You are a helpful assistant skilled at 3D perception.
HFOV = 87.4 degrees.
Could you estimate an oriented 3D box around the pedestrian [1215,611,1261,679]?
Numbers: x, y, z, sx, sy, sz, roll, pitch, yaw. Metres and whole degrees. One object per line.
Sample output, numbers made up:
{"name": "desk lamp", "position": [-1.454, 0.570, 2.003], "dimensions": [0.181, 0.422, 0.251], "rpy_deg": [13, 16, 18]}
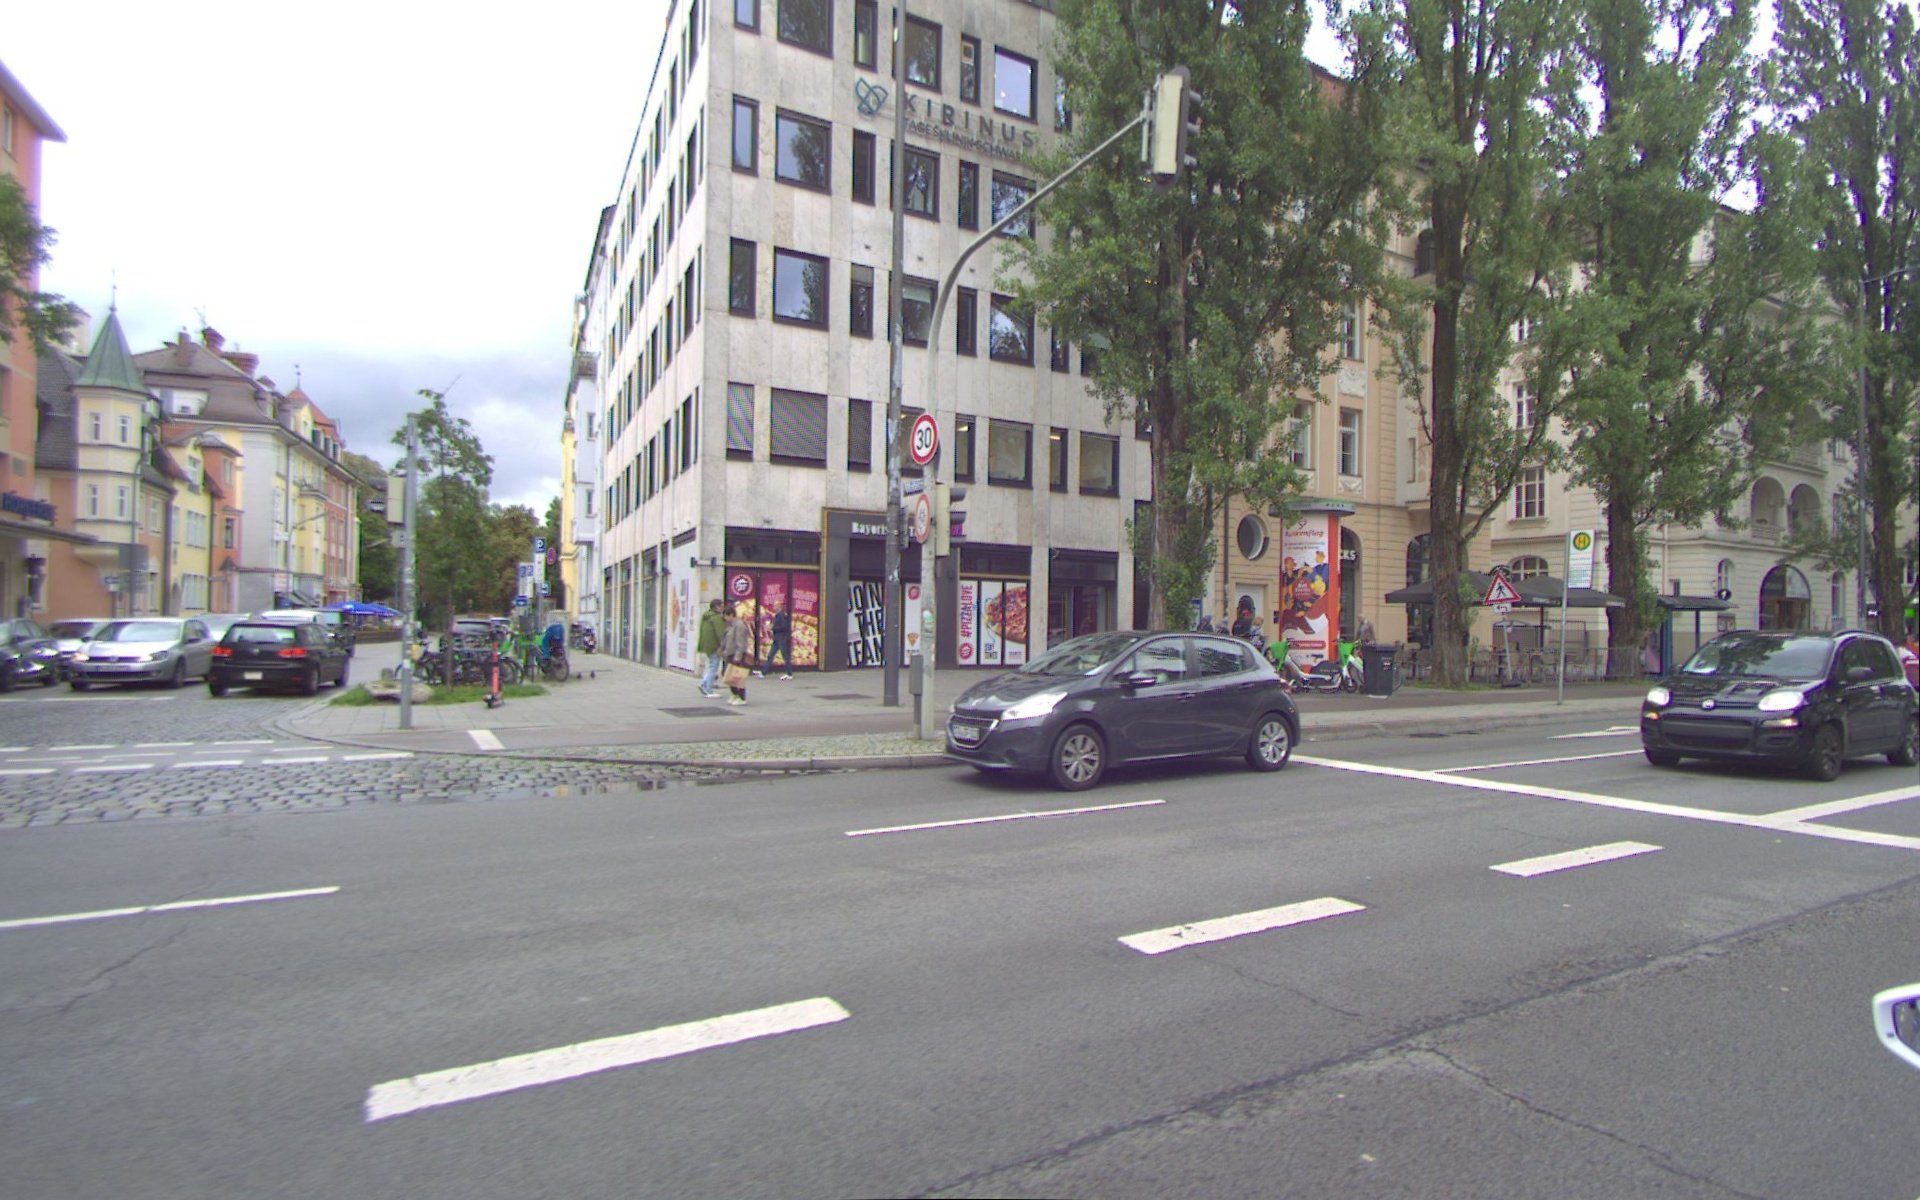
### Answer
{"name": "pedestrian", "position": [7.682, 1.240, 27.751], "dimensions": [0.901, 1.811, 0.796], "rpy_deg": [1, 1, -30]}

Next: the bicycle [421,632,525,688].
{"name": "bicycle", "position": [-10.735, 1.309, 22.170], "dimensions": [2.014, 1.199, 0.412], "rpy_deg": [2, -1, -37]}

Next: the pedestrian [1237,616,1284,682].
{"name": "pedestrian", "position": [8.073, 1.308, 26.981], "dimensions": [0.966, 1.704, 0.728], "rpy_deg": [1, 0, -30]}

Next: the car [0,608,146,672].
{"name": "car", "position": [-22.156, 0.954, 24.912], "dimensions": [1.863, 1.439, 3.929], "rpy_deg": [1, -1, -21]}

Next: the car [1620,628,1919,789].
{"name": "car", "position": [9.070, 1.087, 11.099], "dimensions": [3.652, 1.515, 1.554], "rpy_deg": [2, -2, -31]}

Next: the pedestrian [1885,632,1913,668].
{"name": "pedestrian", "position": [44.356, 2.355, 47.451], "dimensions": [0.941, 1.695, 0.731], "rpy_deg": [1, -1, -30]}

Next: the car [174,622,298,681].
{"name": "car", "position": [-19.492, 1.344, 27.240], "dimensions": [1.716, 1.439, 3.981], "rpy_deg": [1, -1, -21]}

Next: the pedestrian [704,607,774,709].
{"name": "pedestrian", "position": [-3.672, 0.943, 16.688], "dimensions": [0.924, 1.640, 0.774], "rpy_deg": [1, -1, -30]}

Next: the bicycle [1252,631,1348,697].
{"name": "bicycle", "position": [7.336, 1.361, 21.744], "dimensions": [1.915, 1.307, 0.508], "rpy_deg": [2, 0, 18]}

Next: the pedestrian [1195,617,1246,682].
{"name": "pedestrian", "position": [6.511, 1.232, 25.144], "dimensions": [0.979, 1.588, 0.746], "rpy_deg": [2, 0, -34]}

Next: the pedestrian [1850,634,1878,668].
{"name": "pedestrian", "position": [42.002, 2.376, 46.688], "dimensions": [0.795, 1.558, 0.765], "rpy_deg": [1, -1, -30]}

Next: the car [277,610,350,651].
{"name": "car", "position": [-24.597, 1.132, 38.339], "dimensions": [1.762, 1.439, 4.043], "rpy_deg": [2, -2, -25]}

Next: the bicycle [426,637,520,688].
{"name": "bicycle", "position": [-12.032, 1.523, 24.870], "dimensions": [0.444, 1.199, 2.051], "rpy_deg": [0, -2, 44]}

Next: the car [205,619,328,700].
{"name": "car", "position": [-14.148, 1.152, 20.676], "dimensions": [1.752, 1.494, 3.674], "rpy_deg": [1, -1, -30]}

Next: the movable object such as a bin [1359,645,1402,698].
{"name": "movable object such as a bin", "position": [9.061, 1.529, 21.637], "dimensions": [0.712, 1.055, 0.854], "rpy_deg": [2, 0, 31]}

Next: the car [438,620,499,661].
{"name": "car", "position": [-18.811, 1.544, 38.568], "dimensions": [1.973, 1.490, 3.976], "rpy_deg": [1, -2, -25]}

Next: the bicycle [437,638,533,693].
{"name": "bicycle", "position": [-10.937, 1.483, 23.193], "dimensions": [0.410, 1.199, 1.999], "rpy_deg": [0, -2, 40]}

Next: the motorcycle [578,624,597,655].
{"name": "motorcycle", "position": [-16.301, 1.718, 43.931], "dimensions": [0.550, 1.305, 2.126], "rpy_deg": [1, -1, -25]}

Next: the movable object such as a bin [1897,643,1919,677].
{"name": "movable object such as a bin", "position": [37.758, 2.369, 39.935], "dimensions": [0.579, 1.333, 0.602], "rpy_deg": [1, -1, -30]}

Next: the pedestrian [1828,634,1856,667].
{"name": "pedestrian", "position": [41.783, 2.379, 47.586], "dimensions": [0.795, 1.558, 0.765], "rpy_deg": [1, -1, -30]}

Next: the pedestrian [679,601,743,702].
{"name": "pedestrian", "position": [-4.508, 0.917, 18.183], "dimensions": [0.931, 1.763, 0.723], "rpy_deg": [2, 0, -30]}

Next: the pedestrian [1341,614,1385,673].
{"name": "pedestrian", "position": [12.542, 1.350, 31.253], "dimensions": [0.943, 1.767, 0.840], "rpy_deg": [2, 0, -29]}

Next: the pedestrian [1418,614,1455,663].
{"name": "pedestrian", "position": [17.462, 1.416, 36.795], "dimensions": [0.809, 1.767, 0.903], "rpy_deg": [1, -1, -25]}

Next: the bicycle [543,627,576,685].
{"name": "bicycle", "position": [-9.321, 1.261, 23.336], "dimensions": [0.550, 1.266, 2.126], "rpy_deg": [1, -1, -25]}

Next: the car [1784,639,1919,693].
{"name": "car", "position": [24.047, 1.711, 26.737], "dimensions": [4.043, 1.315, 1.872], "rpy_deg": [1, -2, -28]}

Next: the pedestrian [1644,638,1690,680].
{"name": "pedestrian", "position": [22.144, 1.851, 31.465], "dimensions": [0.747, 1.273, 0.957], "rpy_deg": [1, -1, -27]}

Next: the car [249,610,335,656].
{"name": "car", "position": [-22.584, 1.097, 34.097], "dimensions": [1.762, 1.439, 4.043], "rpy_deg": [2, -2, -25]}

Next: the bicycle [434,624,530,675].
{"name": "bicycle", "position": [-11.526, 1.199, 24.271], "dimensions": [2.028, 1.199, 0.415], "rpy_deg": [1, -1, -14]}

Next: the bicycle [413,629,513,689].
{"name": "bicycle", "position": [-10.435, 1.223, 21.133], "dimensions": [1.836, 1.199, 0.412], "rpy_deg": [2, -1, -37]}

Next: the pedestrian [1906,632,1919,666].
{"name": "pedestrian", "position": [50.346, 2.575, 52.879], "dimensions": [0.817, 1.744, 0.622], "rpy_deg": [1, -1, -31]}

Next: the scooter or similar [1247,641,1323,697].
{"name": "scooter or similar", "position": [6.898, 1.447, 21.338], "dimensions": [1.532, 1.128, 0.389], "rpy_deg": [0, -1, 20]}

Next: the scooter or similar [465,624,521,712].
{"name": "scooter or similar", "position": [-7.508, 1.071, 16.189], "dimensions": [0.430, 1.357, 1.363], "rpy_deg": [1, -1, -9]}

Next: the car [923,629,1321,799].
{"name": "car", "position": [1.727, 1.050, 10.340], "dimensions": [3.951, 1.458, 1.634], "rpy_deg": [2, -2, -31]}

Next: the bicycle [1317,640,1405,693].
{"name": "bicycle", "position": [8.983, 1.490, 22.534], "dimensions": [1.776, 1.102, 0.507], "rpy_deg": [2, 0, -7]}

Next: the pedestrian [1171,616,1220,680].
{"name": "pedestrian", "position": [6.028, 1.219, 25.715], "dimensions": [0.979, 1.588, 0.746], "rpy_deg": [2, 0, -34]}

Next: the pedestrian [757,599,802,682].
{"name": "pedestrian", "position": [-4.072, 0.905, 22.633], "dimensions": [0.810, 1.811, 0.696], "rpy_deg": [1, -1, -29]}

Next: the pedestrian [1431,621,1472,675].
{"name": "pedestrian", "position": [16.549, 1.596, 33.833], "dimensions": [0.809, 1.767, 0.903], "rpy_deg": [2, 0, -25]}

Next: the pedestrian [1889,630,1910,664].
{"name": "pedestrian", "position": [50.041, 2.500, 53.481], "dimensions": [0.817, 1.744, 0.622], "rpy_deg": [1, -1, -31]}

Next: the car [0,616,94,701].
{"name": "car", "position": [-19.123, 1.103, 19.831], "dimensions": [1.755, 1.439, 3.980], "rpy_deg": [2, 0, -21]}

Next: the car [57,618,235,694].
{"name": "car", "position": [-17.161, 1.122, 21.413], "dimensions": [1.755, 1.439, 3.981], "rpy_deg": [1, -1, -21]}
